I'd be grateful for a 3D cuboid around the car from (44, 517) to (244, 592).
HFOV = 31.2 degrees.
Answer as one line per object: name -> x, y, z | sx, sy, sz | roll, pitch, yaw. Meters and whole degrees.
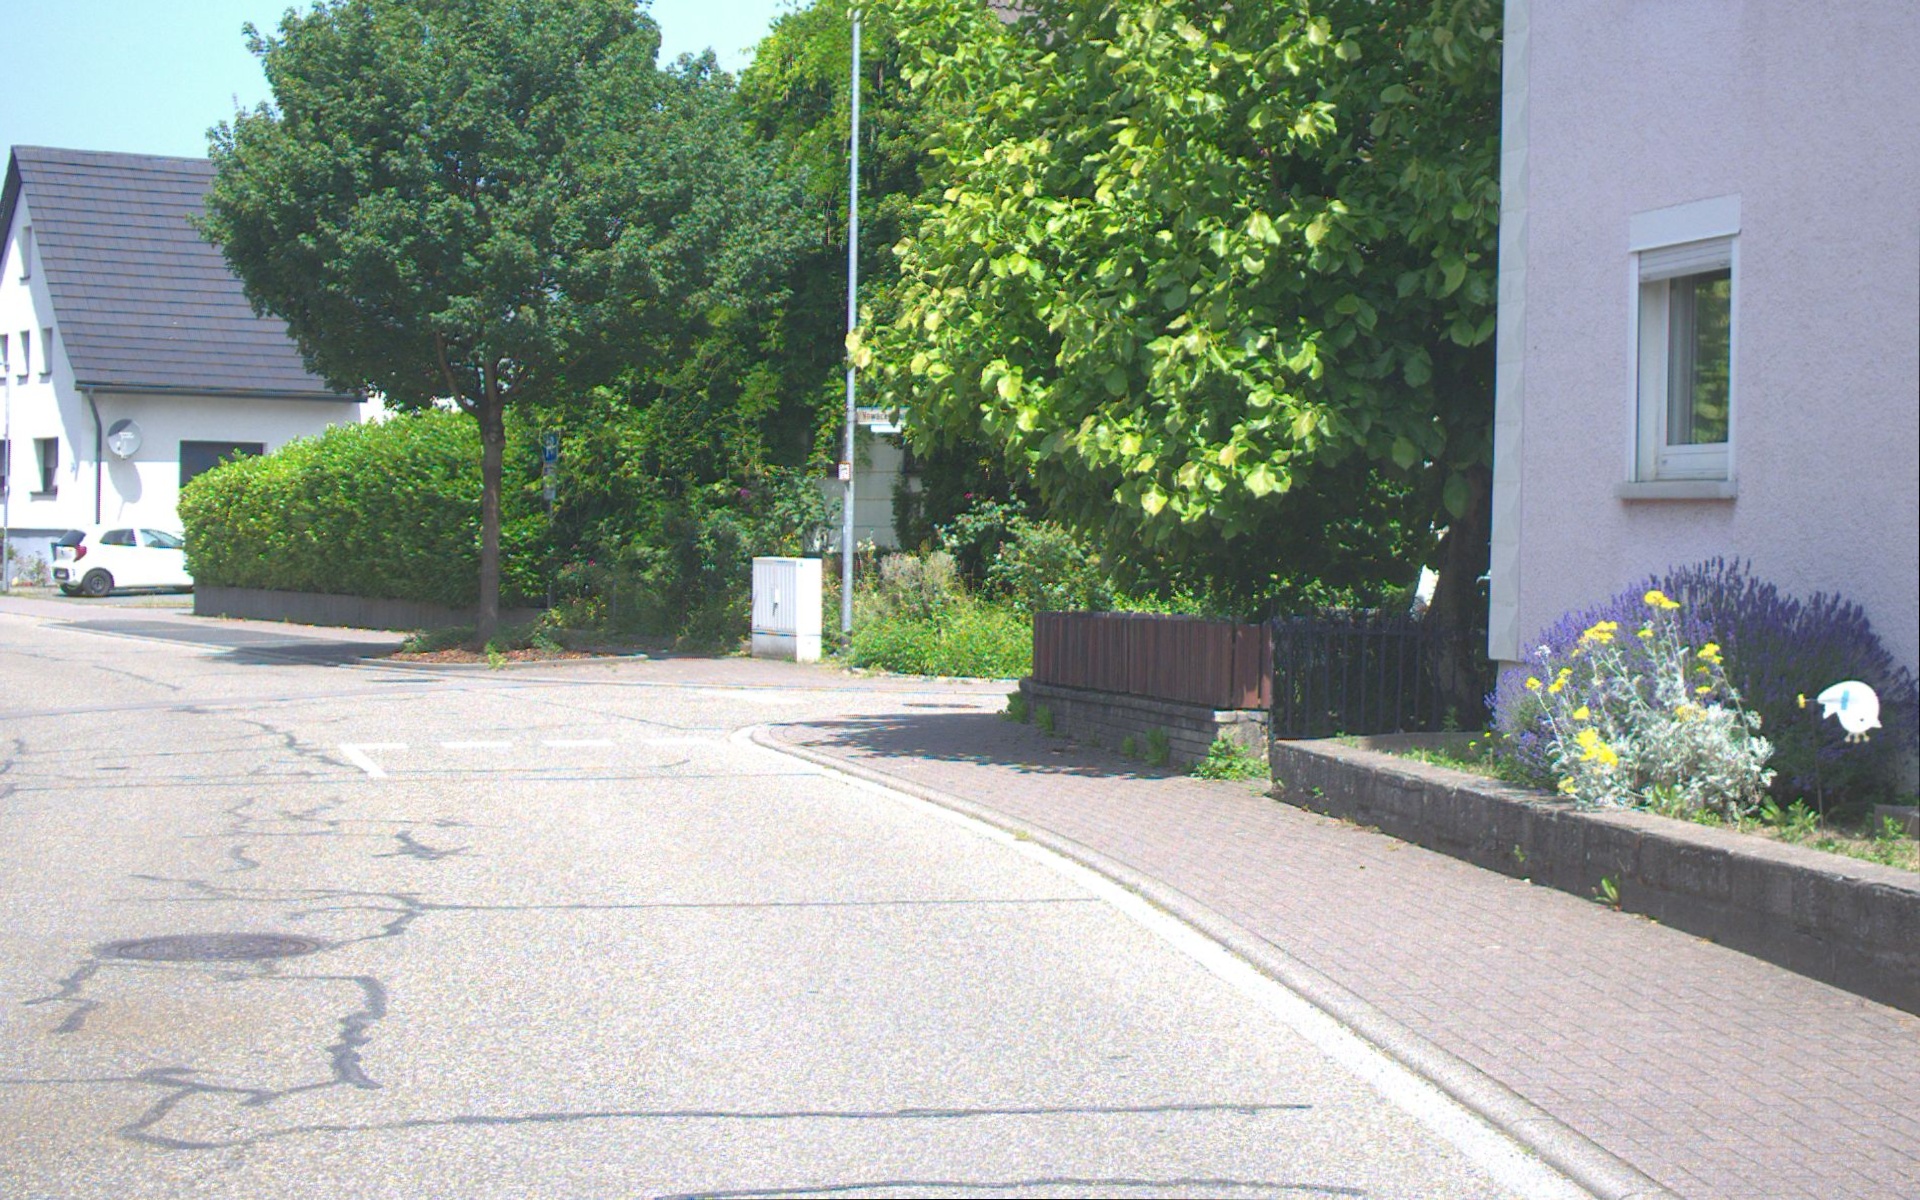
car -> -17.007, -0.973, 71.697 | 3.657, 1.469, 1.765 | -2, 3, -33
